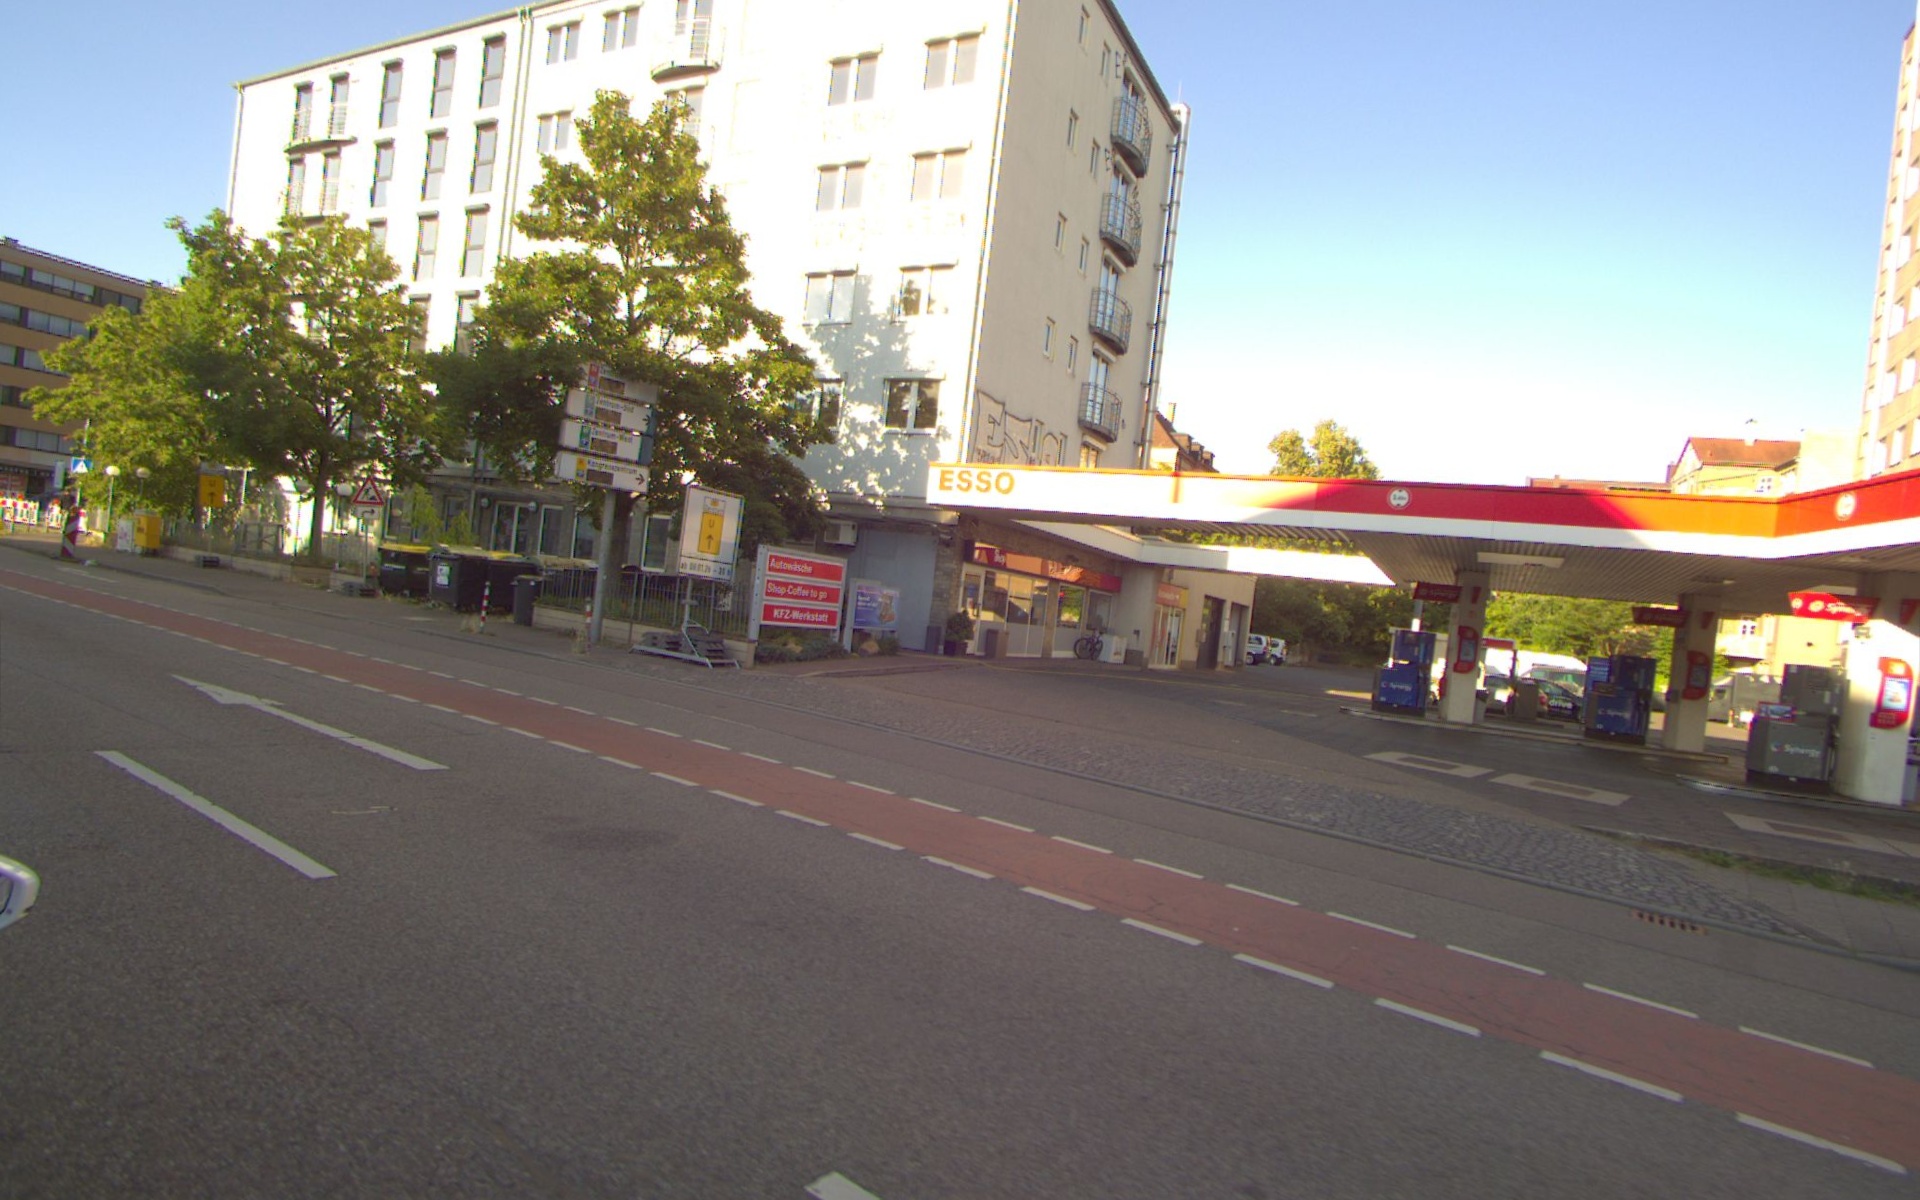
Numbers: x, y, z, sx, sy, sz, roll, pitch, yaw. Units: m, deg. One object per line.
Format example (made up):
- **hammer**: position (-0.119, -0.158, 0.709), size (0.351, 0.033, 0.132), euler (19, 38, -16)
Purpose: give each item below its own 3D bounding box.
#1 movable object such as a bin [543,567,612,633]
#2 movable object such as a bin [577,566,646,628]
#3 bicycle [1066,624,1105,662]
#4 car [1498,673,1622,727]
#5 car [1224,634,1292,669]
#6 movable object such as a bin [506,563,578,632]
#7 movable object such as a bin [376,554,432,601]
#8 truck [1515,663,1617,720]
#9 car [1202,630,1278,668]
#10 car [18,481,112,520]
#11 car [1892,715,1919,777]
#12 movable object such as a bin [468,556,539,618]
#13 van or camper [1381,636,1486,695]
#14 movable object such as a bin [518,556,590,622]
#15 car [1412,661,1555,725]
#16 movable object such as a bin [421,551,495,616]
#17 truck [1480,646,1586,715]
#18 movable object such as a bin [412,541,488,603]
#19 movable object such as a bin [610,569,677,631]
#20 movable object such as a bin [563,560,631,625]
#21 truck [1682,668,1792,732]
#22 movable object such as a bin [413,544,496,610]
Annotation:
- **movable object such as a bin**: position (-8.649, 0.008, 22.748), size (0.937, 1.345, 0.955), euler (7, 1, 28)
- **movable object such as a bin**: position (-8.204, -0.056, 23.716), size (1.079, 1.299, 0.955), euler (7, 1, 28)
- **bicycle**: position (4.020, 1.372, 32.044), size (0.417, 1.117, 1.968), euler (7, 0, 29)
- **car**: position (23.372, 3.857, 39.278), size (3.934, 1.482, 1.996), euler (7, 0, 32)
- **car**: position (20.272, 3.511, 68.555), size (3.932, 1.816, 1.996), euler (7, 0, 30)
- **movable object such as a bin**: position (-9.082, -0.047, 21.867), size (0.937, 1.345, 0.955), euler (7, 1, 28)
- **movable object such as a bin**: position (-14.155, -0.566, 25.607), size (0.805, 1.058, 0.852), euler (7, 1, 26)
- **truck**: position (25.378, 3.822, 42.229), size (3.432, 1.853, 1.779), euler (7, 0, 30)
- **car**: position (17.136, 2.981, 61.601), size (3.932, 1.816, 1.996), euler (7, 0, 30)
- **car**: position (-59.701, -6.638, 67.170), size (1.967, 1.840, 4.221), euler (7, 0, 31)
- **car**: position (25.662, 3.902, 25.680), size (1.740, 1.535, 3.790), euler (7, 0, 29)
- **movable object such as a bin**: position (-11.062, -0.314, 24.386), size (1.142, 1.345, 0.955), euler (7, 1, 28)
- **van or camper**: position (27.975, 3.863, 59.630), size (5.248, 2.723, 2.207), euler (7, 1, 24)
- **movable object such as a bin**: position (-10.122, -0.262, 25.087), size (1.142, 1.467, 1.033), euler (7, 1, 28)
- **car**: position (17.261, 3.041, 33.212), size (3.934, 1.482, 1.996), euler (7, 0, 32)
- **movable object such as a bin**: position (-11.693, -0.385, 23.448), size (1.142, 1.345, 0.955), euler (7, 1, 28)
- **truck**: position (26.391, 3.670, 46.485), size (3.931, 2.591, 1.997), euler (7, 1, 29)
- **movable object such as a bin**: position (-13.818, -0.760, 27.293), size (1.086, 1.479, 1.350), euler (7, 0, 26)
- **movable object such as a bin**: position (-7.741, 0.005, 24.611), size (1.079, 1.345, 0.955), euler (7, 1, 28)
- **movable object such as a bin**: position (-9.376, -0.191, 26.009), size (1.142, 1.517, 1.033), euler (7, 1, 28)
- **truck**: position (46.264, 5.917, 60.035), size (4.664, 3.107, 1.995), euler (7, 1, 32)
- **movable object such as a bin**: position (-12.543, -0.567, 25.003), size (1.086, 1.441, 1.350), euler (7, 0, 26)
